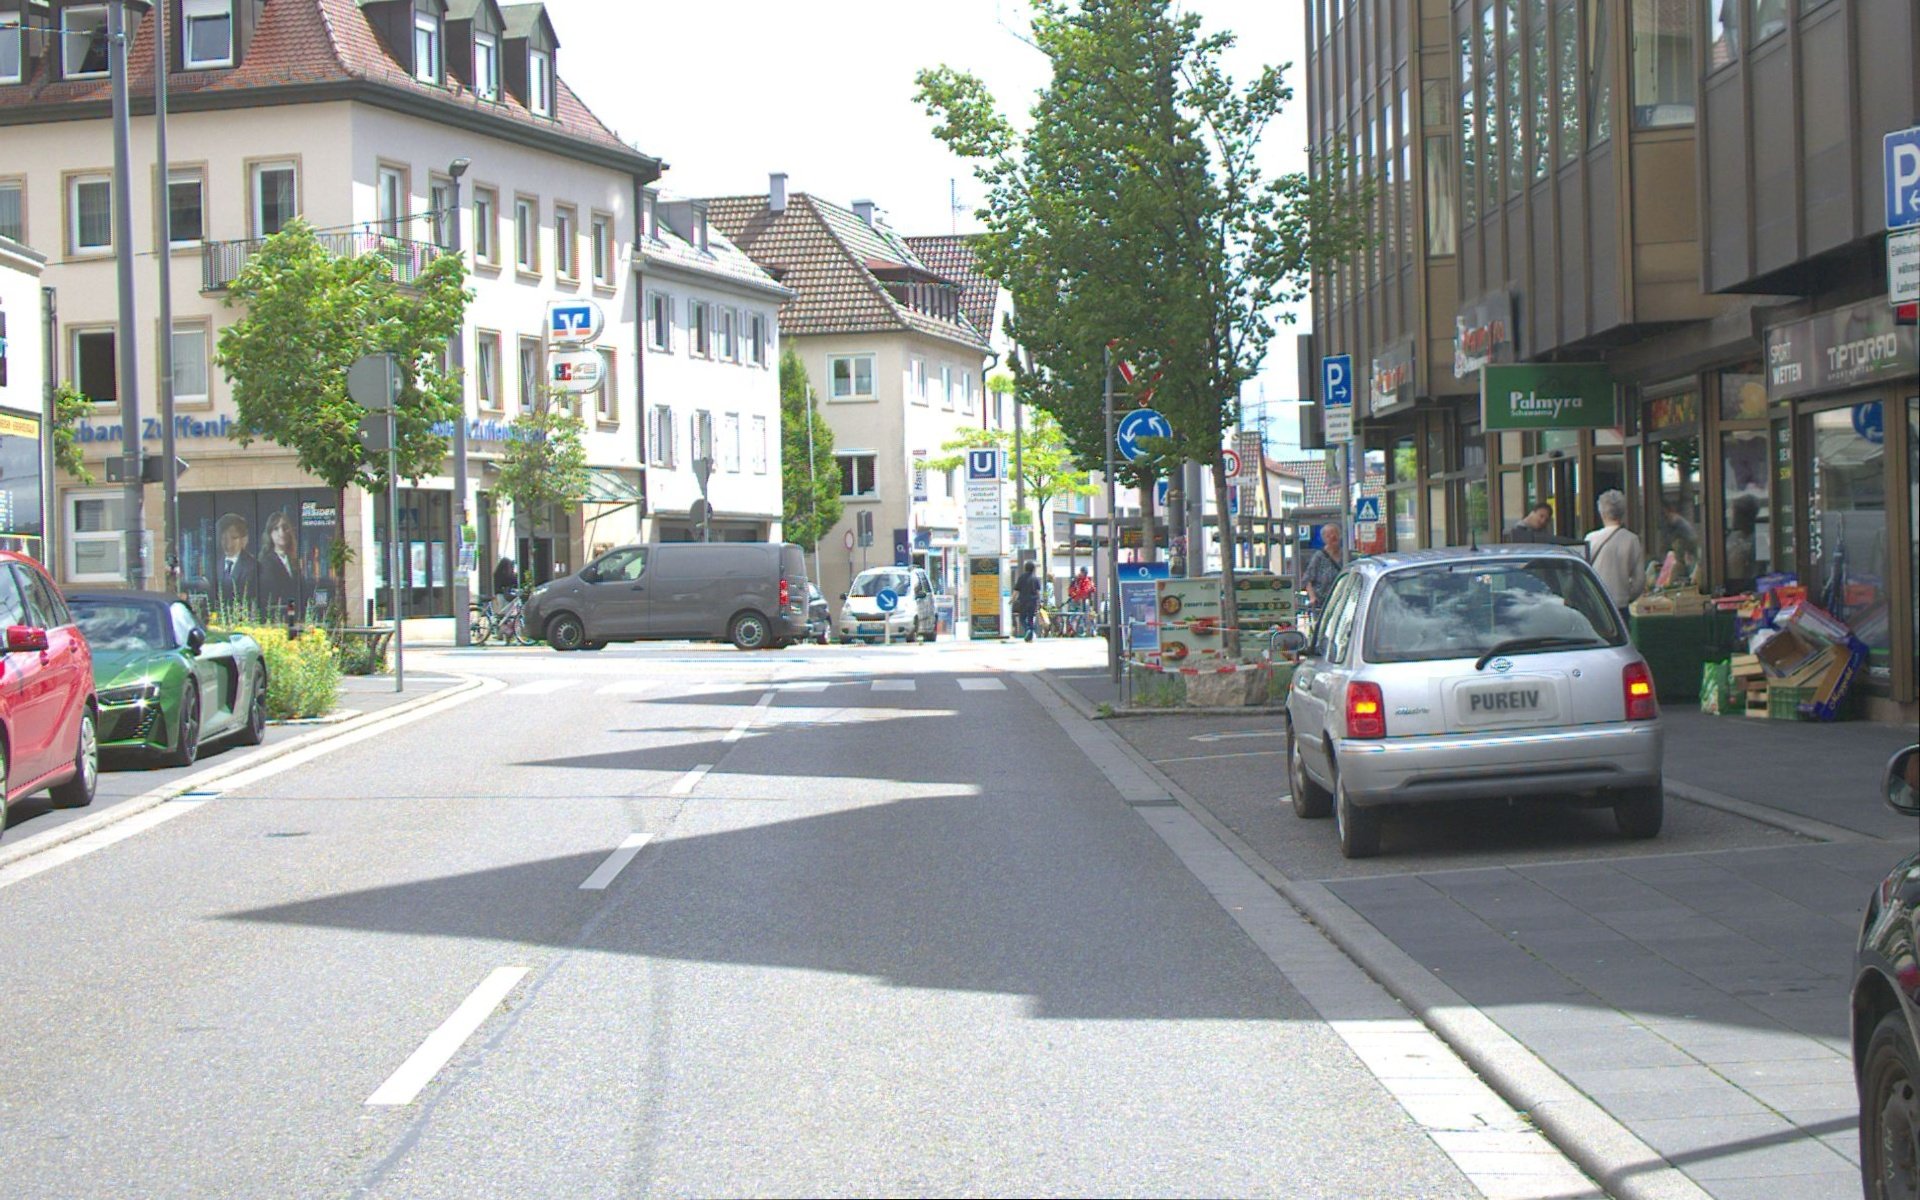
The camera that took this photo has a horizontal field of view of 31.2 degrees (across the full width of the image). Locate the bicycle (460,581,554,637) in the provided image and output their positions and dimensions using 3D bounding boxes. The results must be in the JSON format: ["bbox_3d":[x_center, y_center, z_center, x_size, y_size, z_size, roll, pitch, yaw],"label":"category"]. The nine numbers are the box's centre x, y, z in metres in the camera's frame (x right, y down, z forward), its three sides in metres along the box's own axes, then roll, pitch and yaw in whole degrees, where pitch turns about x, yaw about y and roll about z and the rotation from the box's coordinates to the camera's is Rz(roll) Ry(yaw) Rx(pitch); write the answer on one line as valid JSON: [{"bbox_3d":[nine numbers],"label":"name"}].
[{"bbox_3d":[-8.436,0.164,63.991,1.633,1.027,0.567,0,0,15],"label":"bicycle"}]

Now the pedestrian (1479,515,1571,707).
[{"bbox_3d":[5.368,0.103,32.679,0.737,1.808,0.711,0,0,-1],"label":"pedestrian"}]

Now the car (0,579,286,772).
[{"bbox_3d":[-6.313,0.495,25.432,1.818,1.219,4.524,1,1,-1],"label":"car"}]

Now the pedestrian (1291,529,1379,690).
[{"bbox_3d":[3.784,0.093,34.729,0.784,1.610,0.800,0,0,-1],"label":"pedestrian"}]

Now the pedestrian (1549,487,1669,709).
[{"bbox_3d":[5.040,-0.015,26.705,0.655,1.701,0.647,0,0,-24],"label":"pedestrian"}]

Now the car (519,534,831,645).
[{"bbox_3d":[-4.883,-0.193,59.207,4.985,1.842,2.046,0,0,10],"label":"car"}]

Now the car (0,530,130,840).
[{"bbox_3d":[-5.918,0.433,18.984,1.799,1.598,4.219,-1,1,-3],"label":"car"}]

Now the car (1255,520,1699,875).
[{"bbox_3d":[2.506,0.408,17.474,1.609,1.490,3.795,-4,1,1],"label":"car"}]

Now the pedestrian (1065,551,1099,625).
[{"bbox_3d":[2.938,-0.289,82.674,0.727,1.757,0.748,0,1,10],"label":"pedestrian"}]

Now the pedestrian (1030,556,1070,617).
[{"bbox_3d":[2.320,-0.352,88.245,0.746,1.574,0.729,-1,1,-32],"label":"pedestrian"}]

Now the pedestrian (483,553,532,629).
[{"bbox_3d":[-9.157,-0.188,69.535,0.627,1.527,0.858,0,0,23],"label":"pedestrian"}]

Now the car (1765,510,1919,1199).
[{"bbox_3d":[2.528,0.588,5.406,1.609,1.527,3.795,-2,1,0],"label":"car"}]

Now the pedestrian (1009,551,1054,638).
[{"bbox_3d":[1.406,-0.113,67.975,0.869,1.702,0.531,0,0,2],"label":"pedestrian"}]

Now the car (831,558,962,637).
[{"bbox_3d":[-1.353,-0.061,74.966,1.994,1.683,3.998,0,0,12],"label":"car"}]
